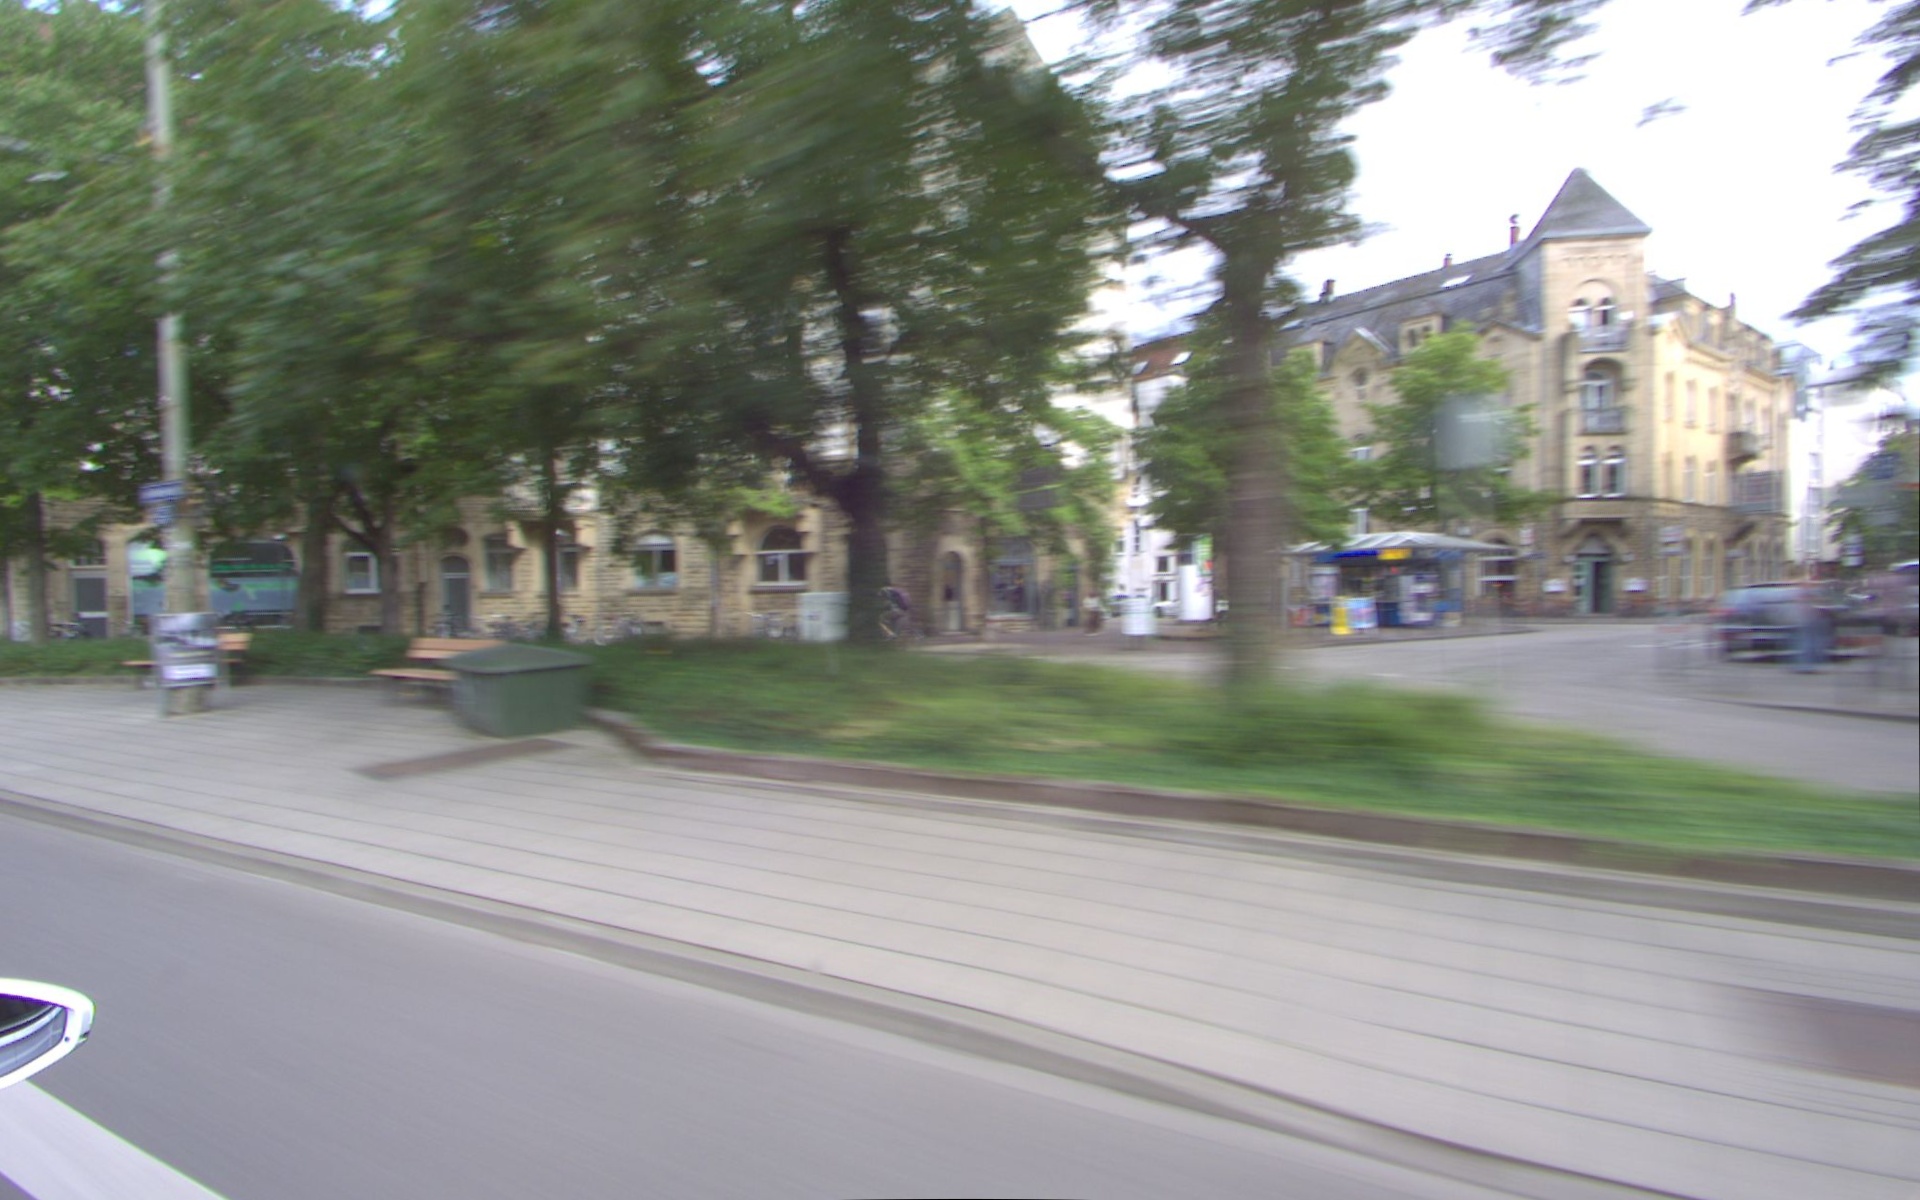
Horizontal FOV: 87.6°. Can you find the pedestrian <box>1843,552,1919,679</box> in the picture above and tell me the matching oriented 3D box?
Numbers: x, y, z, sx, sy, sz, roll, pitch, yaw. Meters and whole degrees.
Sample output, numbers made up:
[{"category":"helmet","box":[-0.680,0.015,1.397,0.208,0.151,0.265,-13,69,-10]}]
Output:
[{"category":"pedestrian","box":[13.347,0.198,14.413,0.882,1.753,0.752,-3,3,-36]}]

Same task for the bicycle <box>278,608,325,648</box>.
[{"category":"bicycle","box":[-20.146,0.850,30.660,0.655,1.143,1.889,-1,1,-17]}]

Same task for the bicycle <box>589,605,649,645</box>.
[{"category":"bicycle","box":[-10.376,0.745,30.569,0.524,1.143,1.886,0,1,27]}]

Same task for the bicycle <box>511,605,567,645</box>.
[{"category":"bicycle","box":[-13.021,0.760,31.034,0.572,1.143,1.891,0,1,13]}]

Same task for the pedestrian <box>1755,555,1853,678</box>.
[{"category":"pedestrian","box":[12.551,0.222,14.911,0.721,1.753,0.889,-3,3,-27]}]

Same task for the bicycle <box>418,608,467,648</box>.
[{"category":"bicycle","box":[-16.138,0.844,31.253,0.522,1.143,1.892,-1,2,0]}]

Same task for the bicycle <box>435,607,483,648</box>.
[{"category":"bicycle","box":[-15.597,0.831,31.232,0.522,1.143,1.892,-1,2,0]}]

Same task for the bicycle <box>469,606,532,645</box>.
[{"category":"bicycle","box":[-14.222,0.775,31.054,0.588,1.143,1.888,0,1,22]}]

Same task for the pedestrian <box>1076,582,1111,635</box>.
[{"category":"pedestrian","box":[4.248,0.261,31.815,0.826,1.645,0.726,-2,2,-40]}]

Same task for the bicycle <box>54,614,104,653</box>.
[{"category":"bicycle","box":[-26.066,0.979,29.657,0.442,1.069,1.645,-1,1,-17]}]

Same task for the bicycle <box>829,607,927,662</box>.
[{"category":"bicycle","box":[-1.816,0.765,22.214,2.064,1.168,0.654,0,2,13]}]

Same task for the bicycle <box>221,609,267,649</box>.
[{"category":"bicycle","box":[-21.705,0.865,30.372,0.523,1.143,1.889,-1,1,-17]}]

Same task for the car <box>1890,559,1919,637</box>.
[{"category":"car","box":[26.498,-0.096,26.772,3.953,2.007,1.853,-1,1,-39]}]

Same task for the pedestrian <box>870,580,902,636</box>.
[{"category":"pedestrian","box":[-2.242,0.241,30.494,0.819,1.698,0.732,-1,2,8]}]

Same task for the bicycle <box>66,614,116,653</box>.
[{"category":"bicycle","box":[-25.664,0.973,29.598,0.442,1.069,1.645,-1,1,-17]}]

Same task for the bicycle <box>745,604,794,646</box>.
[{"category":"bicycle","box":[-5.551,0.707,29.231,0.523,1.143,1.889,0,1,19]}]

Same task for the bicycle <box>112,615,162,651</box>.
[{"category":"bicycle","box":[-24.541,0.975,29.880,0.523,0.985,1.645,-1,1,-17]}]

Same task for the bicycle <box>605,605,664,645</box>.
[{"category":"bicycle","box":[-9.840,0.736,30.345,0.524,1.143,1.886,0,1,27]}]

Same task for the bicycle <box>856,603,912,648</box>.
[{"category":"bicycle","box":[-2.063,0.680,27.496,0.525,1.143,1.883,0,1,31]}]

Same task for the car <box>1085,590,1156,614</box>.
[{"category":"car","box":[9.860,0.116,61.851,1.751,1.414,4.320,-2,1,-38]}]

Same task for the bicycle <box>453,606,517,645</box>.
[{"category":"bicycle","box":[-14.789,0.782,31.227,0.553,1.143,1.888,0,1,22]}]

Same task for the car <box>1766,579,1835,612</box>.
[{"category":"car","box":[40.466,-0.221,48.181,3.956,1.539,1.982,-1,0,-41]}]

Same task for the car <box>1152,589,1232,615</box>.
[{"category":"car","box":[13.277,0.128,57.522,1.751,1.414,4.320,-2,1,-38]}]

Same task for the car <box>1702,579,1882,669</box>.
[{"category":"car","box":[15.394,0.371,18.469,3.953,1.460,1.804,-1,1,-39]}]

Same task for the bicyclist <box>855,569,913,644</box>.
[{"category":"bicyclist","box":[-1.671,0.143,22.154,1.118,1.628,0.645,0,2,13]}]

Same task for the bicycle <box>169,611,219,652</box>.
[{"category":"bicycle","box":[-22.931,0.927,30.014,0.523,1.143,1.889,-1,1,-17]}]

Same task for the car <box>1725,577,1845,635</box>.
[{"category":"car","box":[23.923,0.130,28.995,3.950,1.544,1.805,-1,1,-37]}]

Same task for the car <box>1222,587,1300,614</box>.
[{"category":"car","box":[16.092,0.020,53.701,1.751,1.414,3.675,-2,1,-38]}]

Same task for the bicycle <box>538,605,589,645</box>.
[{"category":"bicycle","box":[-12.227,0.751,30.913,0.583,1.143,1.892,-1,1,8]}]

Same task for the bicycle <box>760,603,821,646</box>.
[{"category":"bicycle","box":[-4.844,0.689,28.677,0.525,1.143,1.881,0,1,36]}]

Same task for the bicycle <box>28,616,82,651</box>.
[{"category":"bicycle","box":[-26.878,0.977,29.763,0.593,0.985,1.667,-1,1,-21]}]
